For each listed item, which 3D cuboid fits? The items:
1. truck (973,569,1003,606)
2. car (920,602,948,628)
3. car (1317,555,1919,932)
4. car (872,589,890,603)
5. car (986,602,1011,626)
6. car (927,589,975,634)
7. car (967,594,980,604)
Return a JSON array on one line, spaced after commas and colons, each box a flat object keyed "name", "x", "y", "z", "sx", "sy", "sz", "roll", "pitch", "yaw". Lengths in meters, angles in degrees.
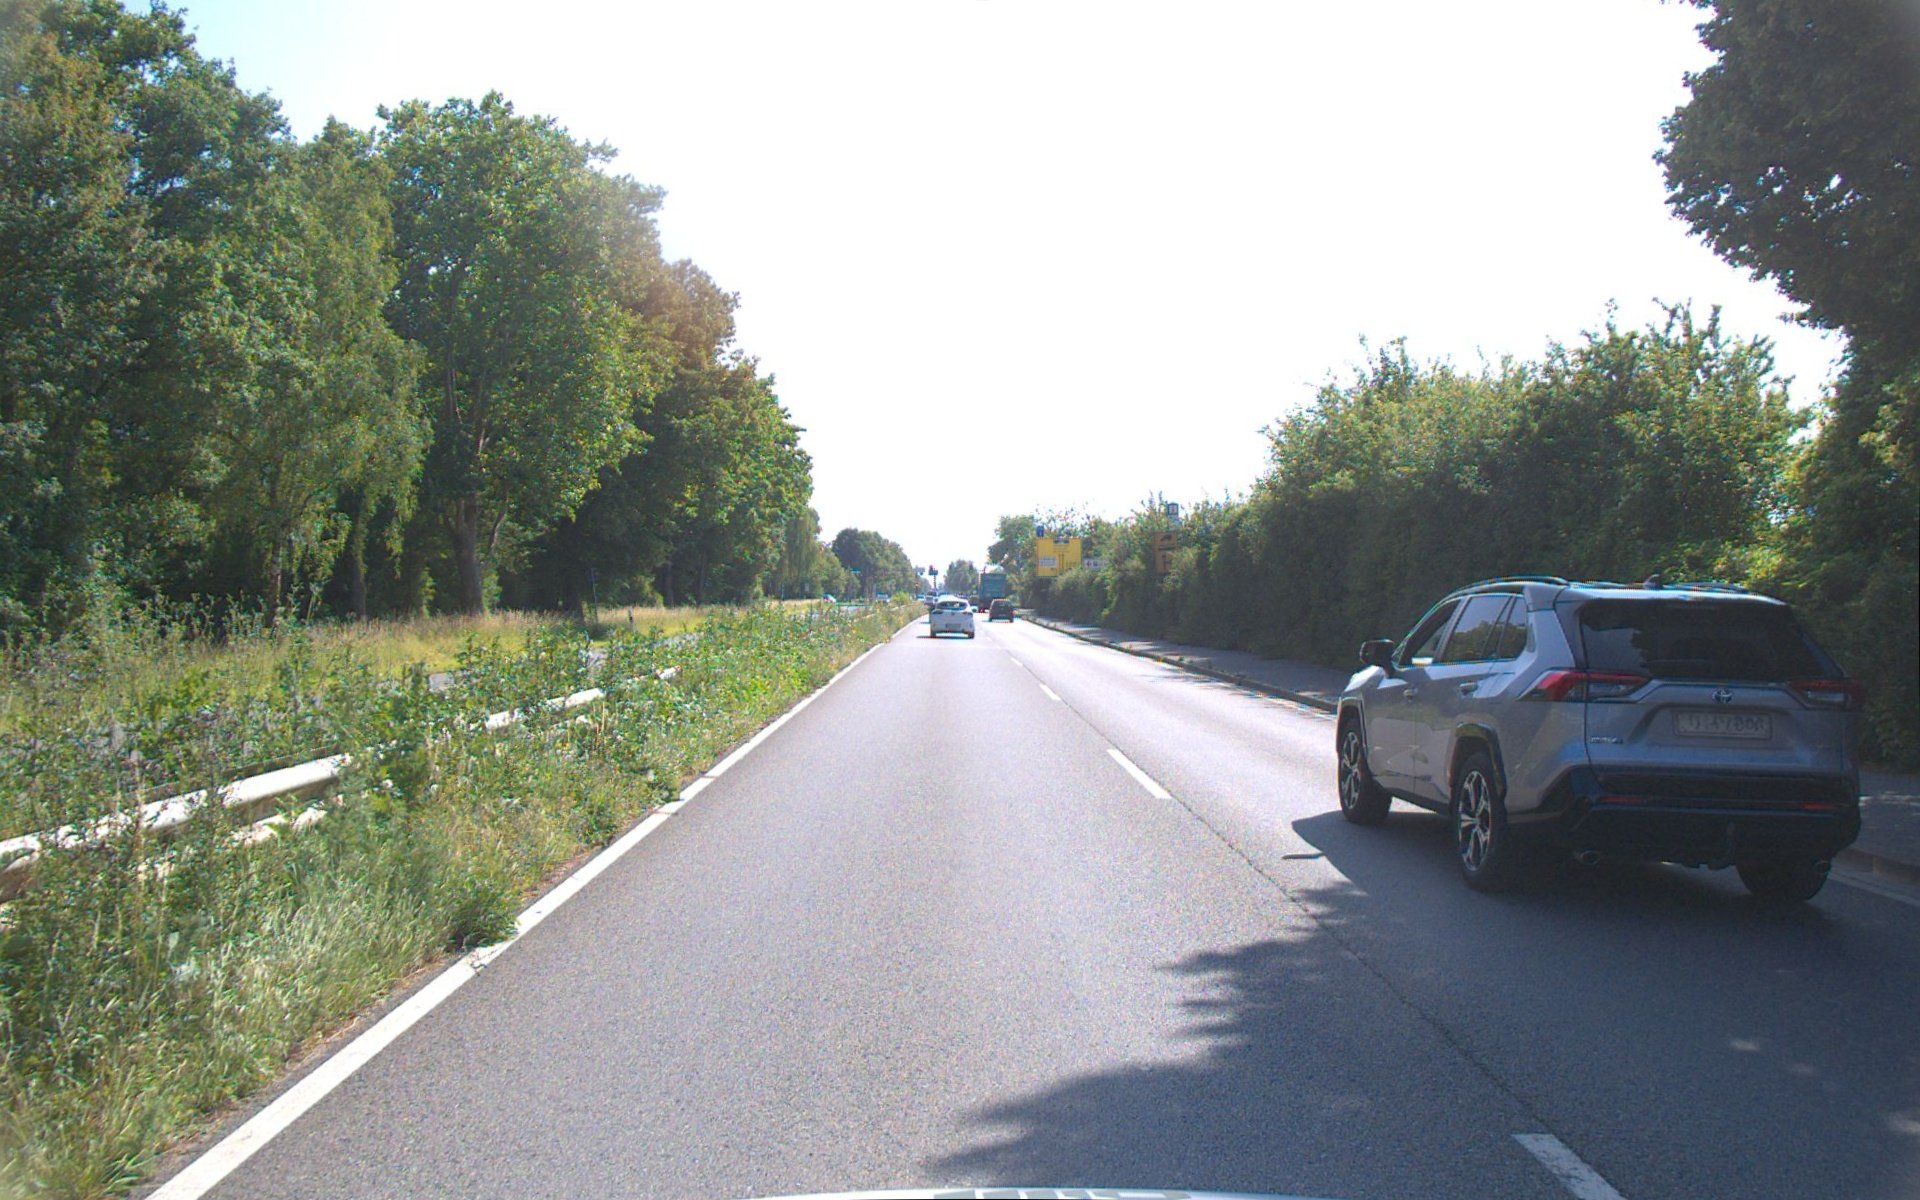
[{"name": "truck", "x": 2.733, "y": -1.222, "z": 164.253, "sx": 2.832, "sy": 3.488, "sz": 9.168, "roll": 0, "pitch": 0, "yaw": 0}, {"name": "car", "x": -1.483, "y": 0.871, "z": 95.038, "sx": 1.540, "sy": 1.439, "sz": 3.277, "roll": 1, "pitch": 0, "yaw": 0}, {"name": "car", "x": 3.669, "y": 0.672, "z": 10.136, "sx": 1.863, "sy": 1.709, "sz": 4.683, "roll": 2, "pitch": 0, "yaw": -1}, {"name": "car", "x": -9.092, "y": -0.414, "z": 189.908, "sx": 1.741, "sy": 1.557, "sz": 4.162, "roll": -1, "pitch": 0, "yaw": 2}, {"name": "car", "x": 2.476, "y": 0.907, "z": 106.516, "sx": 1.540, "sy": 1.439, "sz": 3.277, "roll": 1, "pitch": -1, "yaw": 0}, {"name": "car", "x": -0.316, "y": 0.414, "z": 63.198, "sx": 1.762, "sy": 1.580, "sz": 4.000, "roll": 1, "pitch": 0, "yaw": 0}, {"name": "car", "x": 2.080, "y": -0.112, "z": 252.849, "sx": 1.775, "sy": 1.490, "sz": 4.460, "roll": 0, "pitch": 0, "yaw": 2}]
